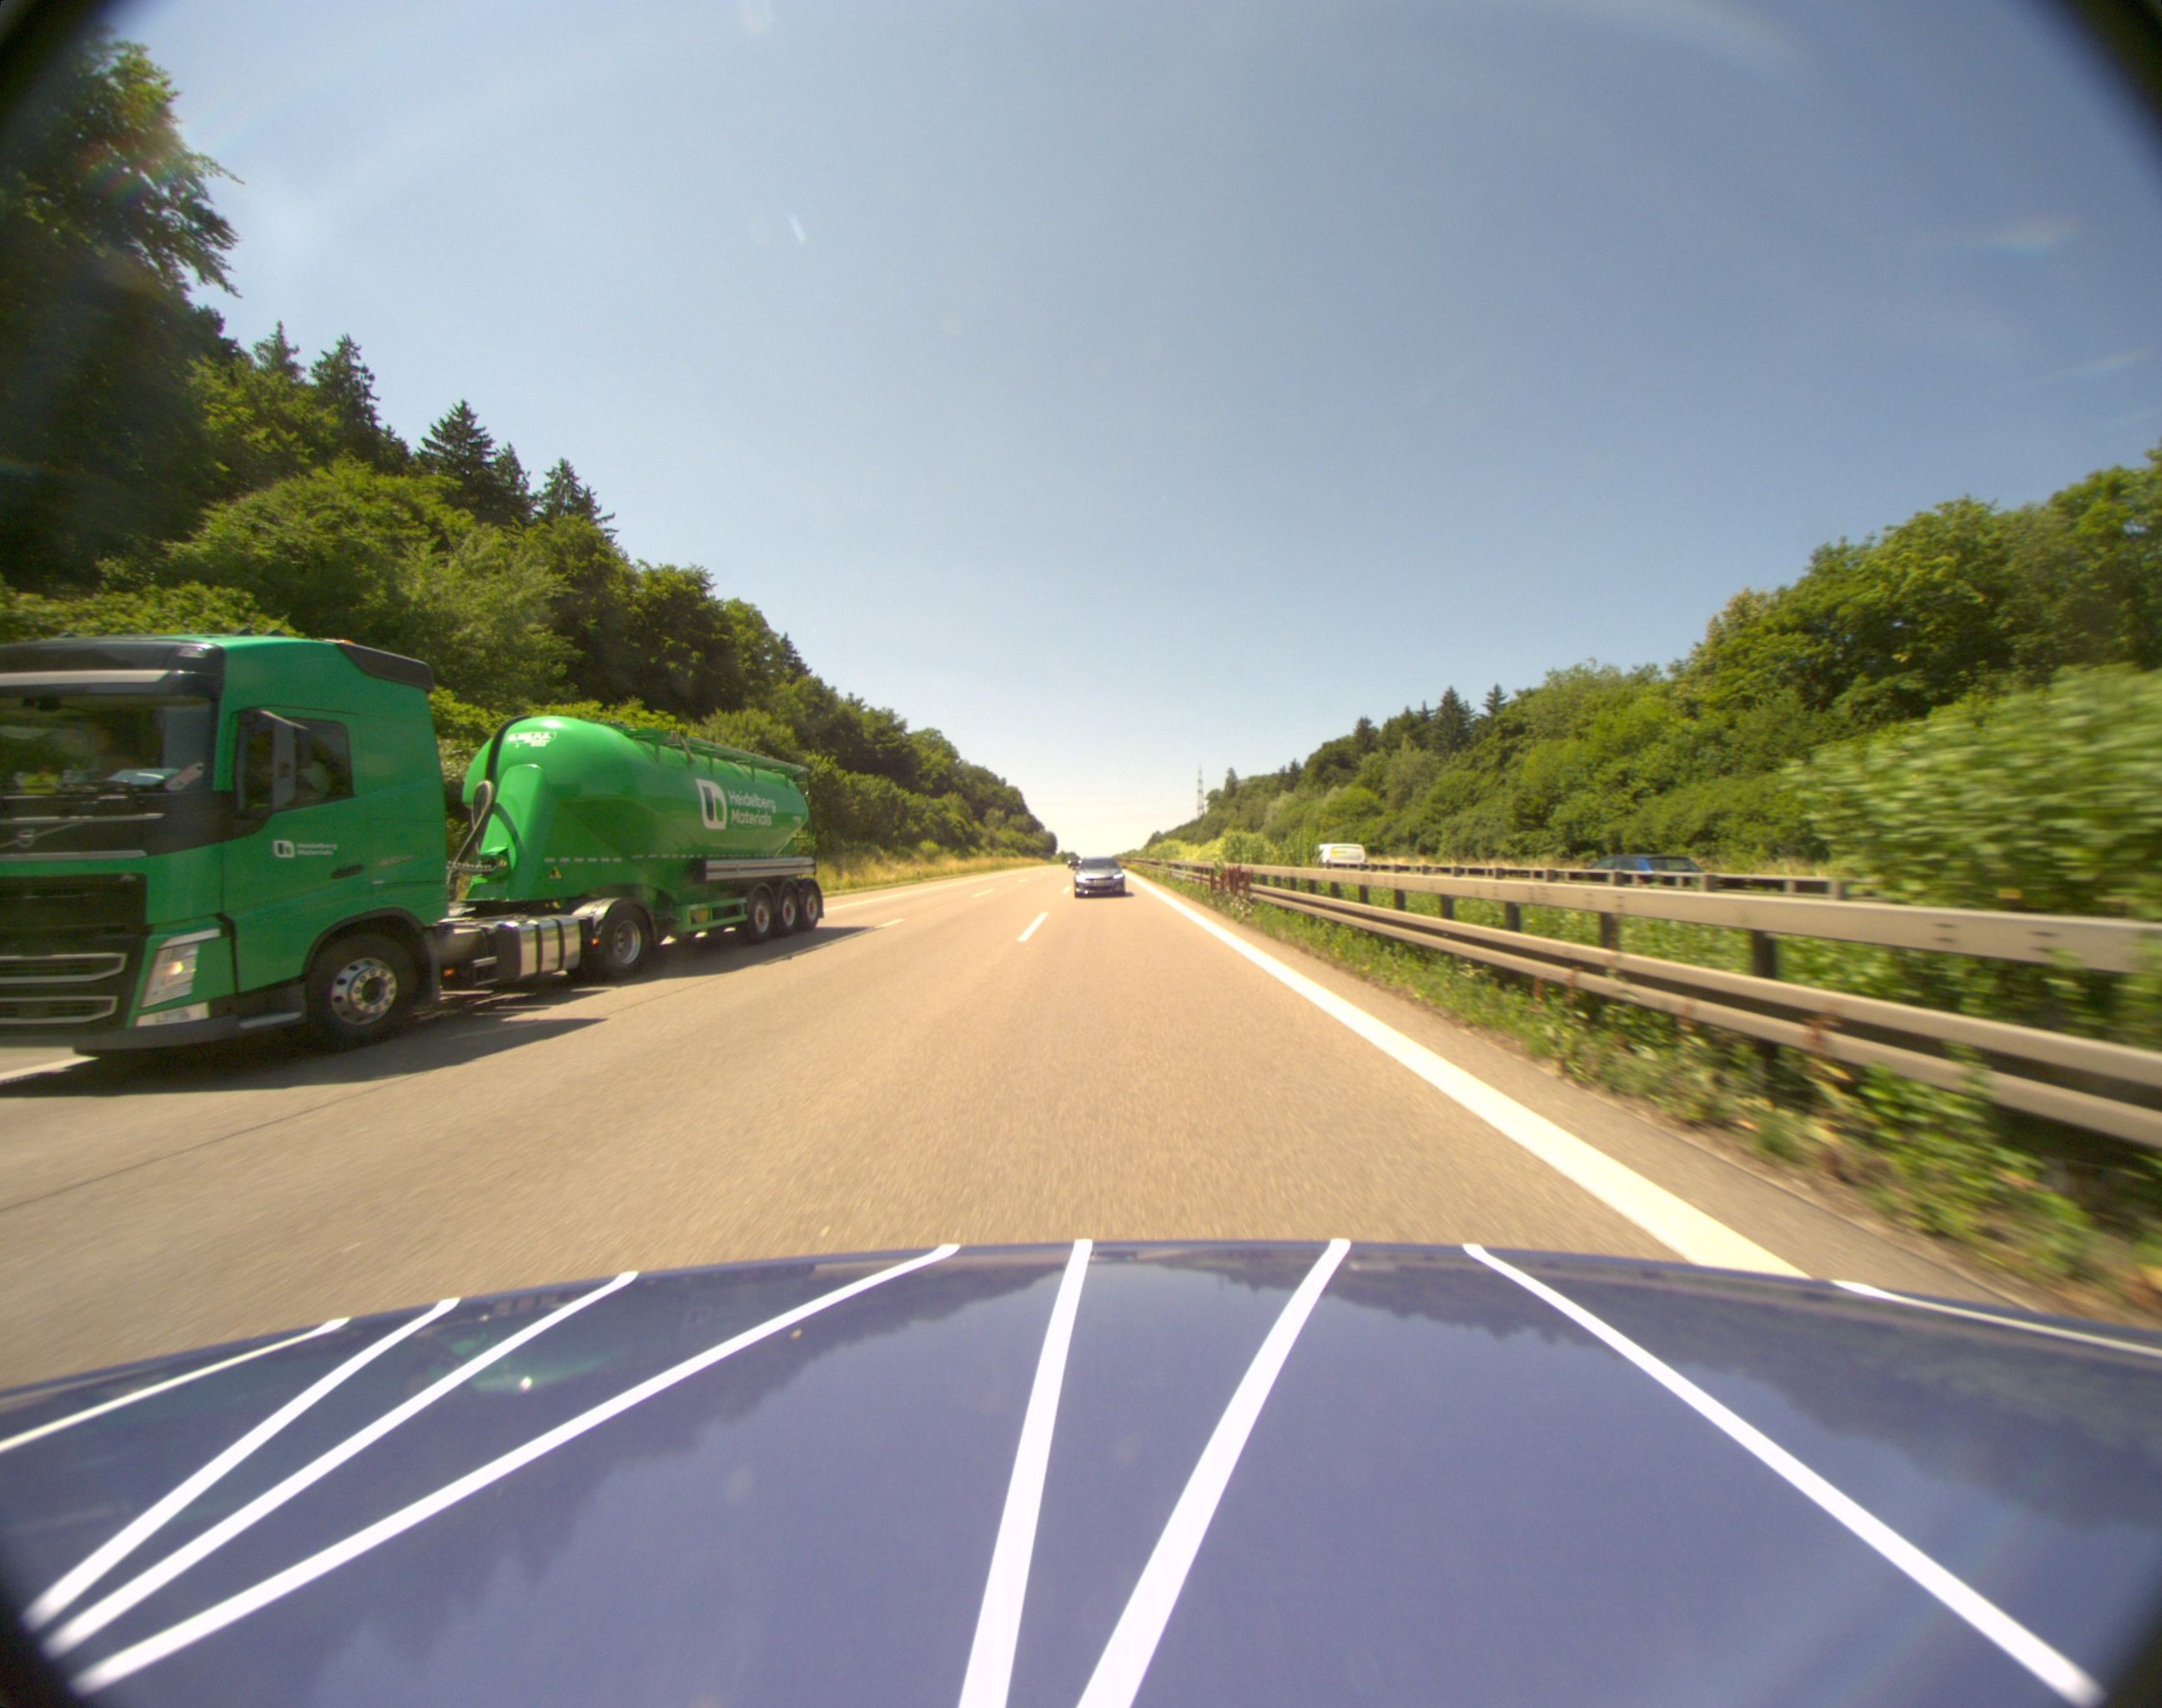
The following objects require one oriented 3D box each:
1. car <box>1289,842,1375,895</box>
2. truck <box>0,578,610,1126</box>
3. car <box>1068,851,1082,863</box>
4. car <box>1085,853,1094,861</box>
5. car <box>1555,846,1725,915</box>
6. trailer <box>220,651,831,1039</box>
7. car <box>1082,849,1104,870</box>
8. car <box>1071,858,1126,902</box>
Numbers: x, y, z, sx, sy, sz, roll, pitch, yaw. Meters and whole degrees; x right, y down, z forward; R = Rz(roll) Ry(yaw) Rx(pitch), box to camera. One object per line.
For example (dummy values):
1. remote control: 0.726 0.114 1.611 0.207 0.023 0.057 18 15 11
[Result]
1. car: 10.628 0.598 32.635 1.910 2.002 5.366 -2 0 1
2. truck: -7.712 0.030 7.811 2.516 3.819 4.892 -2 0 0
3. car: -0.814 0.428 104.060 1.788 1.550 3.943 -2 0 0
4. car: 2.194 0.695 193.020 1.999 2.002 3.999 -2 0 -1
5. car: 14.480 0.638 19.988 1.562 1.589 3.911 2 0 1
6. trailer: -7.626 -0.067 13.288 2.593 4.004 10.471 -2 0 2
7. car: 0.997 0.484 63.856 1.742 1.610 3.943 -2 0 0
8. car: 0.715 0.890 27.837 1.768 1.400 4.000 -2 0 4
